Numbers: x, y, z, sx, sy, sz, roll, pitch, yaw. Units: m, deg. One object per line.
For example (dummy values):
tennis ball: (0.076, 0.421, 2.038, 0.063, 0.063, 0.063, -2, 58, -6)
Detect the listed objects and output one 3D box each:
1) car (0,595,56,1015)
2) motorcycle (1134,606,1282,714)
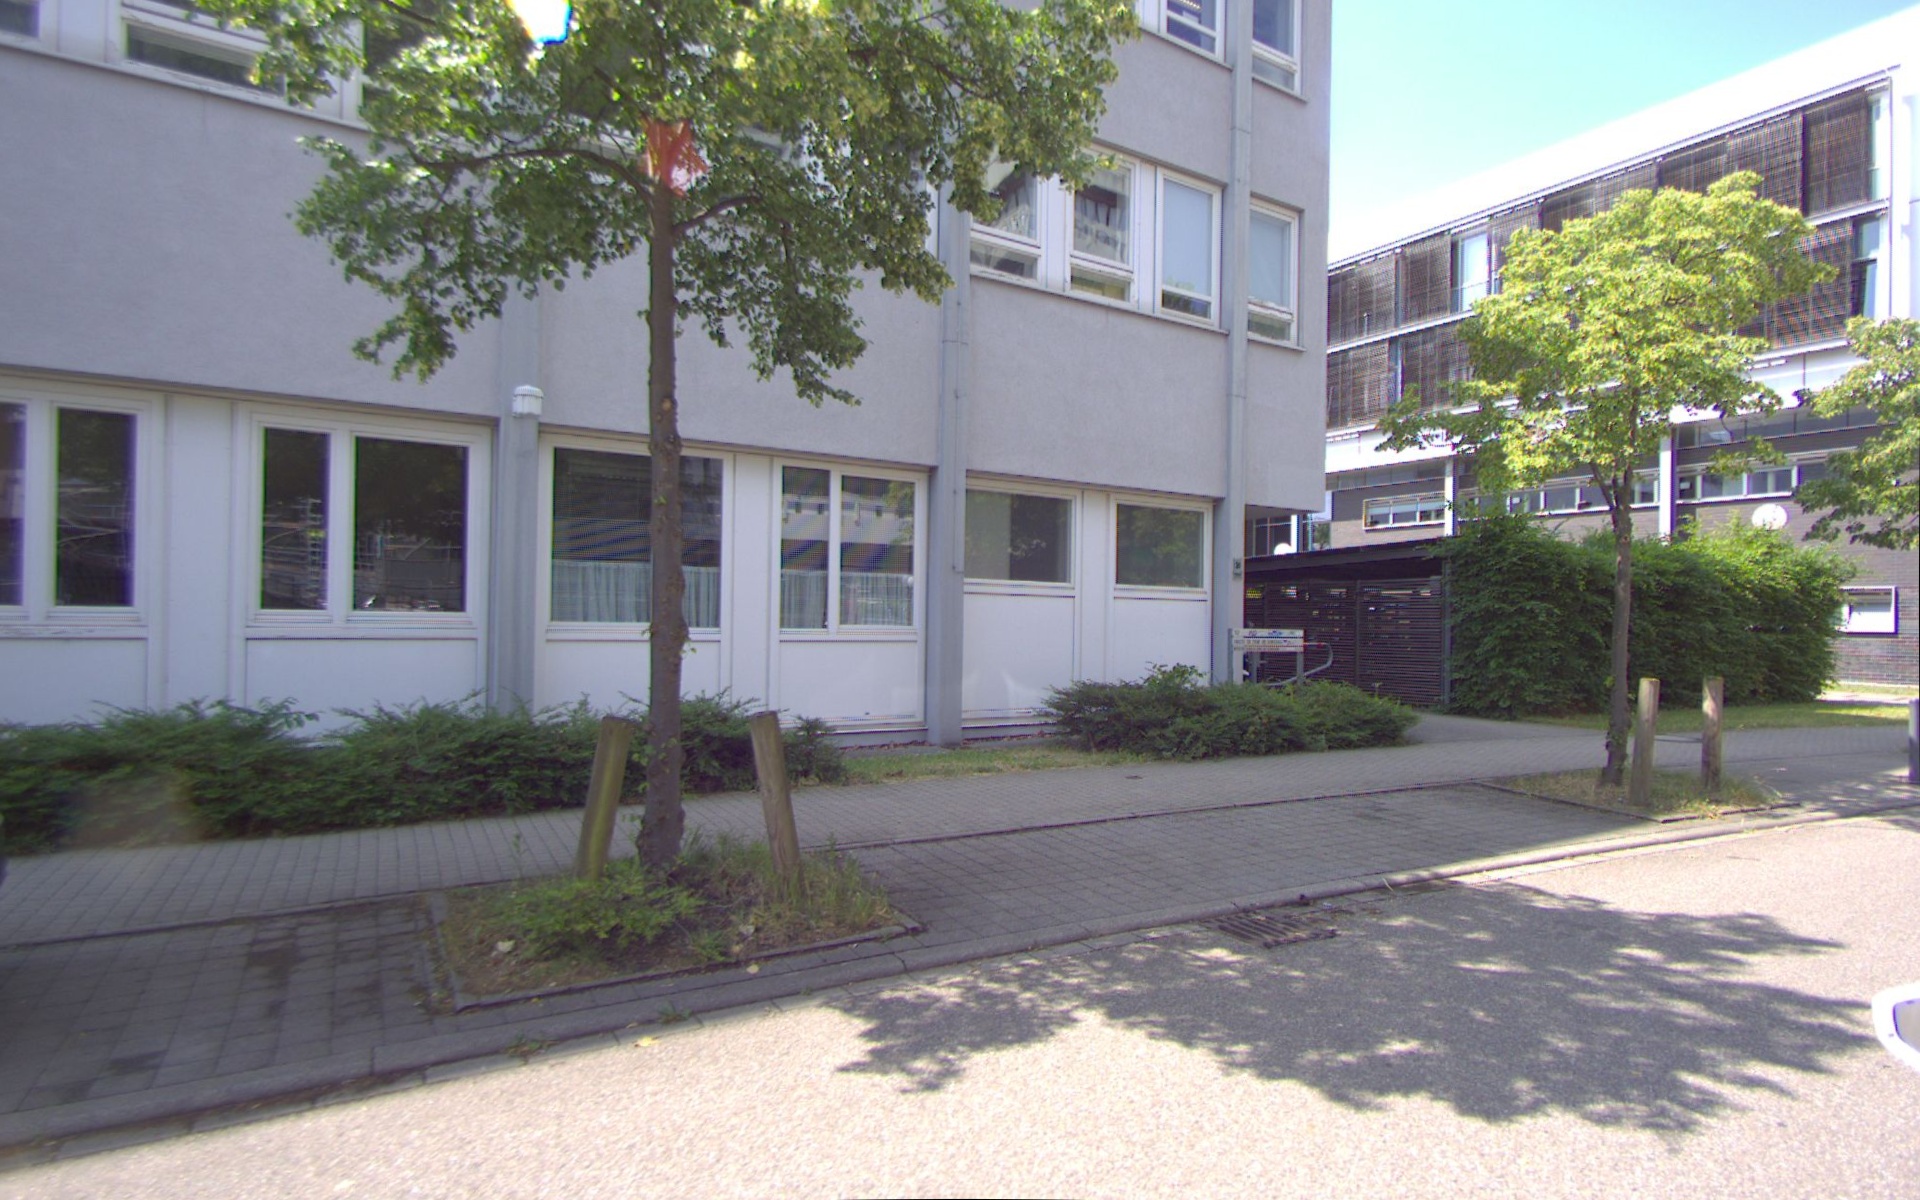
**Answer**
car: (-5.098, 0.691, 2.319, 4.214, 1.480, 1.767, 1, 0, -34)
motorcycle: (3.858, 0.894, 15.782, 1.071, 1.571, 2.082, 1, -1, -34)
